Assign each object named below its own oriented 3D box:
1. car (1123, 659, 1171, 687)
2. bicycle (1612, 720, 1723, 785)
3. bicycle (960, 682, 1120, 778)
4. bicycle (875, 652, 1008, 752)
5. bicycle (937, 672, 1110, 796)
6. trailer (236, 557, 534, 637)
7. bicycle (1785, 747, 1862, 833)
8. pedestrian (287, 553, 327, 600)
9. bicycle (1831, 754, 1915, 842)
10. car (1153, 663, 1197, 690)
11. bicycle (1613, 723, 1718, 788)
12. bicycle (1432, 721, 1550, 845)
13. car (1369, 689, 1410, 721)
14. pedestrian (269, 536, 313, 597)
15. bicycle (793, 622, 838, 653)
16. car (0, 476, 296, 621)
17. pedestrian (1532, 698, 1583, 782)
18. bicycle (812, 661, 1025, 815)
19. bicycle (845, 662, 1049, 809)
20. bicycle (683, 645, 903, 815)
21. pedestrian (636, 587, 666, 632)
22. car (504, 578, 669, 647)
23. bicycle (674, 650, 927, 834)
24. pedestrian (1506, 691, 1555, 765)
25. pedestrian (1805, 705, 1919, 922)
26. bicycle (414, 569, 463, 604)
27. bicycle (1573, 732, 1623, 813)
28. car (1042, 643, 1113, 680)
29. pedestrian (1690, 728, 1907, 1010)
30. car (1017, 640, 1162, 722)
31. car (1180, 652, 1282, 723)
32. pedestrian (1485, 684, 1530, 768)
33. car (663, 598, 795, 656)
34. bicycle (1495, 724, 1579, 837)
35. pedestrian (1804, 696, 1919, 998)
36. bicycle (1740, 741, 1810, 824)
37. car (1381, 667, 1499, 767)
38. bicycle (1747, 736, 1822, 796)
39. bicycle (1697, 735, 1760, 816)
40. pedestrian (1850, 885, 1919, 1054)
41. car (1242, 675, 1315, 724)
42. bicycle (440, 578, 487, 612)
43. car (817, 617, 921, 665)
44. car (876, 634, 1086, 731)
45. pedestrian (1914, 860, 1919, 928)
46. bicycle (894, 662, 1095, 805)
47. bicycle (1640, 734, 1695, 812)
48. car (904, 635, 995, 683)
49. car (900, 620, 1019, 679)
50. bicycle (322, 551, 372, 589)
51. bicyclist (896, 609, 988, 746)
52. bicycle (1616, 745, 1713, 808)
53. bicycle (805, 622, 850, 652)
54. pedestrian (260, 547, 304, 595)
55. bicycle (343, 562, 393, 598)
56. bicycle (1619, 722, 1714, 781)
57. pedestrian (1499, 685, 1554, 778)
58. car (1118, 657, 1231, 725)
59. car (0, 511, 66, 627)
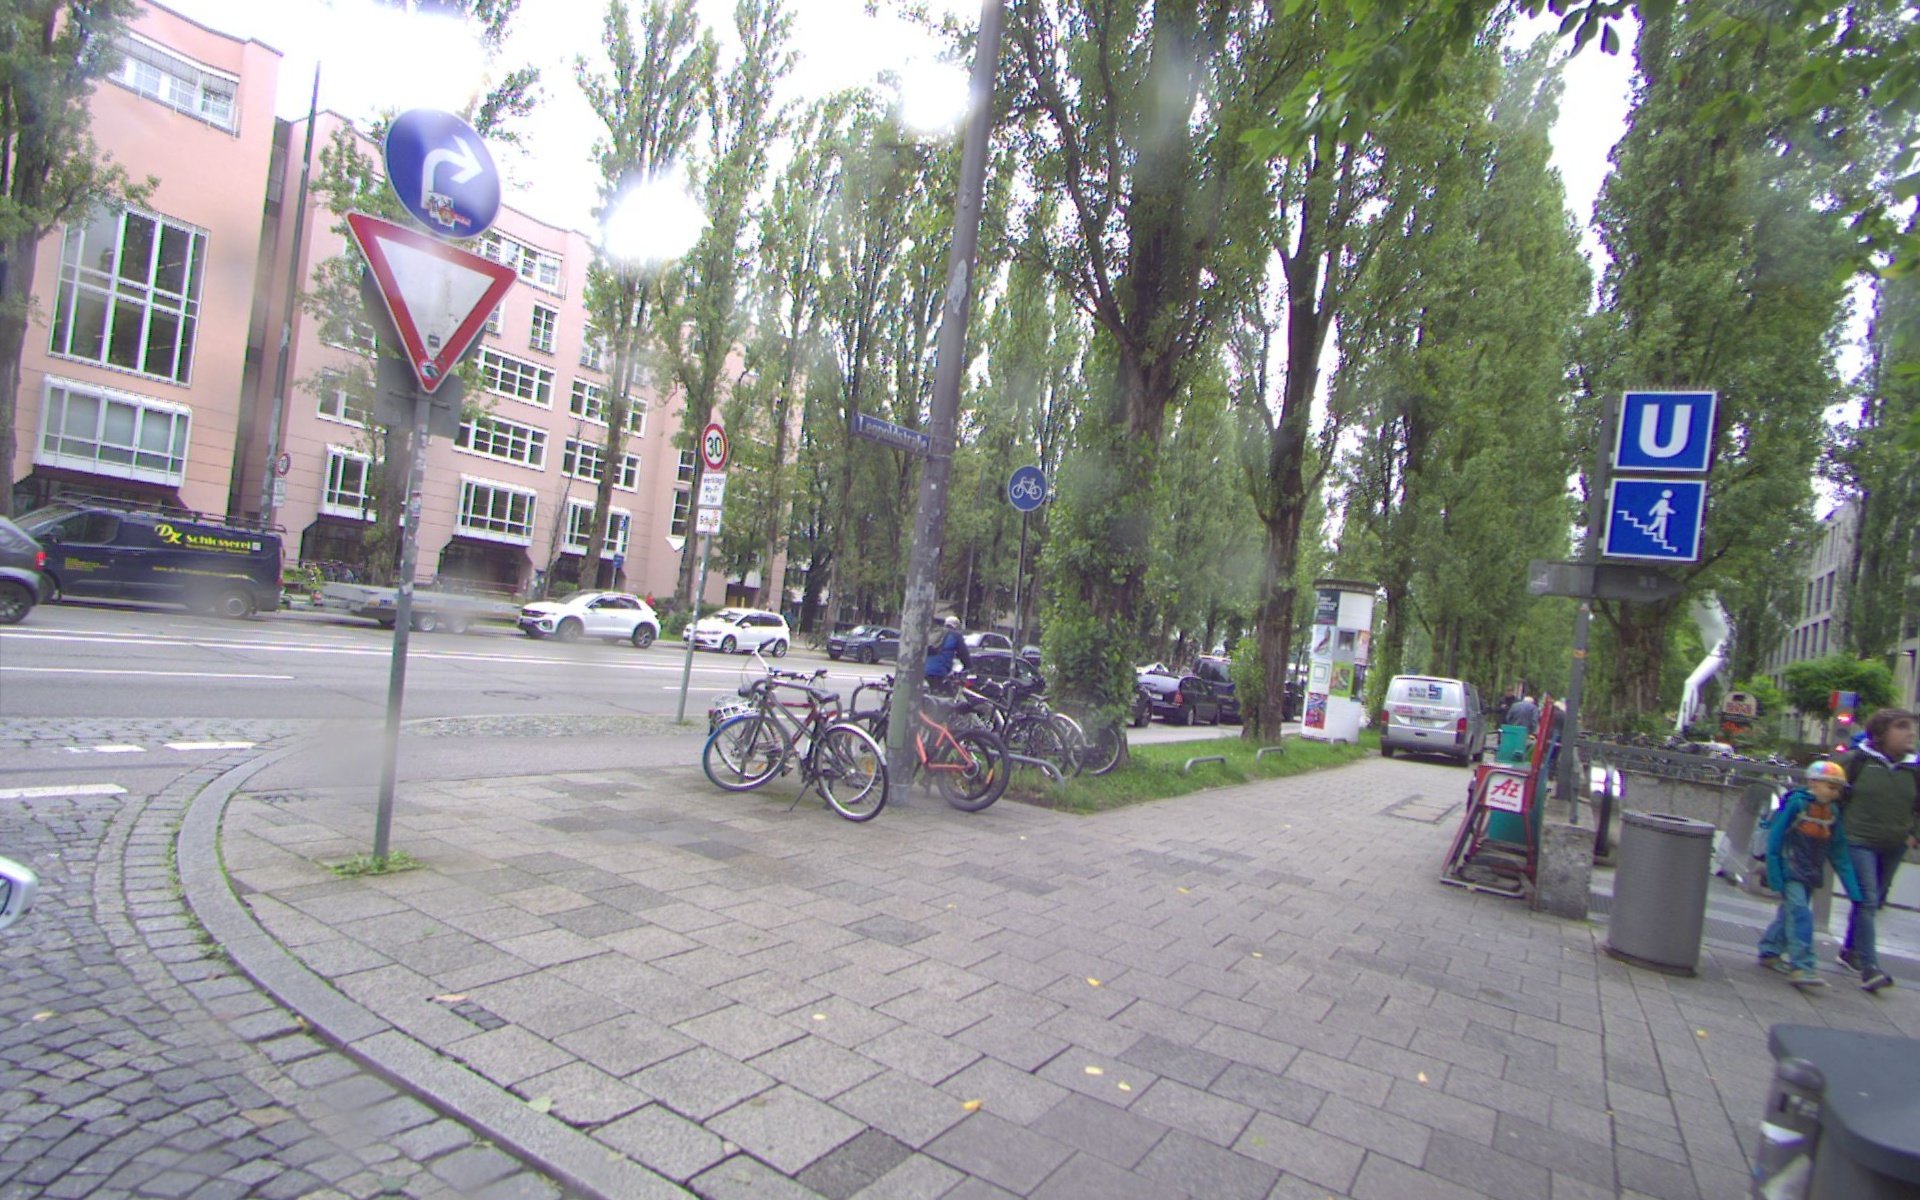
[{"bbox_3d":[12.799,4.990,68.634,1.738,1.598,3.964,7,-1,32],"label":"car"},{"bbox_3d":[16.492,3.544,23.509,1.999,1.173,0.586,6,-1,34],"label":"bicycle"},{"bbox_3d":[0.894,1.465,11.593,1.806,0.828,0.470,5,0,37],"label":"bicycle"},{"bbox_3d":[-0.203,1.348,13.095,0.708,1.160,1.897,3,-5,33],"label":"bicycle"},{"bbox_3d":[0.661,1.413,10.901,1.806,1.051,0.511,5,0,37],"label":"bicycle"},{"bbox_3d":[-14.128,0.008,25.209,2.365,1.213,6.028,6,-2,33],"label":"trailer"},{"bbox_3d":[13.938,3.036,16.286,0.578,1.173,1.866,7,-2,32],"label":"bicycle"},{"bbox_3d":[-21.109,-0.763,32.532,0.698,1.385,0.730,7,-1,33],"label":"pedestrian"},{"bbox_3d":[14.445,3.100,15.959,0.578,1.173,1.866,7,-2,32],"label":"bicycle"},{"bbox_3d":[15.738,5.597,73.556,1.738,1.597,3.966,7,-2,32],"label":"car"},{"bbox_3d":[16.120,3.533,23.034,1.839,1.173,0.586,6,-1,34],"label":"bicycle"},{"bbox_3d":[5.853,1.979,11.031,0.580,1.173,1.860,6,-2,43],"label":"bicycle"},{"bbox_3d":[26.806,6.547,62.673,1.719,1.662,3.947,8,-1,30],"label":"car"},{"bbox_3d":[-20.267,-1.019,30.478,0.698,1.734,0.730,7,-1,33],"label":"pedestrian"},{"bbox_3d":[-6.563,1.704,45.773,1.956,1.138,0.675,6,-1,33],"label":"bicycle"},{"bbox_3d":[-16.944,-0.994,20.235,1.990,2.222,5.488,7,-2,32],"label":"car"},{"bbox_3d":[12.471,2.920,21.007,0.687,1.625,0.831,6,-1,37],"label":"pedestrian"},{"bbox_3d":[-0.398,1.173,8.864,1.846,1.063,0.475,5,-2,34],"label":"bicycle"},{"bbox_3d":[-0.152,1.205,9.282,1.846,1.063,0.475,5,-2,34],"label":"bicycle"},{"bbox_3d":[-1.412,1.028,8.300,1.846,1.063,0.475,7,-1,34],"label":"bicycle"},{"bbox_3d":[-12.757,0.384,41.504,0.698,1.734,0.730,7,-1,33],"label":"pedestrian"},{"bbox_3d":[-10.887,0.413,29.593,1.778,1.560,4.225,5,-2,34],"label":"car"},{"bbox_3d":[-1.227,1.023,7.582,1.843,1.063,0.475,6,-1,27],"label":"bicycle"},{"bbox_3d":[15.889,3.557,28.018,0.905,1.888,1.011,6,-1,37],"label":"pedestrian"},{"bbox_3d":[7.977,1.840,8.866,0.655,1.716,0.802,7,-1,41],"label":"pedestrian"},{"bbox_3d":[-20.480,-0.543,39.509,2.072,1.138,0.675,6,-1,33],"label":"bicycle"},{"bbox_3d":[10.767,2.872,16.993,0.578,1.173,1.981,7,-2,32],"label":"bicycle"},{"bbox_3d":[6.453,3.360,54.808,1.967,1.662,4.543,5,-2,32],"label":"car"},{"bbox_3d":[5.084,1.563,6.105,0.766,1.436,0.808,7,-1,-43],"label":"pedestrian"},{"bbox_3d":[3.129,1.948,23.701,1.720,1.544,3.901,8,-1,33],"label":"car"},{"bbox_3d":[9.188,2.978,33.760,1.884,1.947,5.034,8,-1,30],"label":"car"},{"bbox_3d":[12.969,2.974,23.833,0.689,1.862,0.705,7,-1,35],"label":"pedestrian"},{"bbox_3d":[-7.958,0.981,35.119,1.966,1.560,4.320,7,-2,30],"label":"car"},{"bbox_3d":[7.228,2.215,12.672,0.577,1.173,1.870,7,-2,23],"label":"bicycle"},{"bbox_3d":[5.861,1.515,6.303,0.686,1.721,0.656,7,-1,-43],"label":"pedestrian"},{"bbox_3d":[13.431,2.978,16.626,0.578,1.173,1.866,7,-2,32],"label":"bicycle"},{"bbox_3d":[11.671,2.790,24.230,1.785,1.918,5.194,6,-2,33],"label":"car"},{"bbox_3d":[18.341,3.717,22.416,0.577,1.169,1.878,7,-9,17],"label":"bicycle"},{"bbox_3d":[12.925,2.922,16.955,0.578,1.173,1.866,7,-2,32],"label":"bicycle"},{"bbox_3d":[11.235,4.390,11.965,0.701,1.745,0.669,7,-1,31],"label":"pedestrian"},{"bbox_3d":[12.320,3.838,38.819,1.719,1.544,3.947,8,-1,30],"label":"car"},{"bbox_3d":[-19.870,-0.197,40.273,1.956,1.138,0.675,6,-1,33],"label":"bicycle"},{"bbox_3d":[-3.736,1.738,41.968,1.967,1.560,4.317,6,-2,33],"label":"car"},{"bbox_3d":[0.540,1.646,19.337,1.729,1.444,4.438,8,-1,35],"label":"car"},{"bbox_3d":[8.326,1.876,8.212,0.602,1.700,0.842,7,-1,41],"label":"pedestrian"},{"bbox_3d":[0.317,1.295,10.066,1.899,1.118,0.512,6,-1,32],"label":"bicycle"},{"bbox_3d":[12.153,2.941,17.317,0.578,1.173,1.866,7,-2,32],"label":"bicycle"},{"bbox_3d":[-0.420,2.830,47.533,1.967,1.818,4.755,7,-2,31],"label":"car"},{"bbox_3d":[0.090,1.882,36.998,1.967,1.768,5.057,4,-3,30],"label":"car"},{"bbox_3d":[-22.315,-1.101,36.634,1.956,1.138,0.675,6,-1,33],"label":"bicycle"},{"bbox_3d":[-0.224,0.999,13.015,0.712,1.638,0.756,7,-1,29],"label":"bicyclist"},{"bbox_3d":[17.460,4.360,24.977,1.839,1.173,0.586,6,-1,34],"label":"bicycle"},{"bbox_3d":[-6.125,1.700,46.385,1.956,1.138,0.675,6,-1,33],"label":"bicycle"},{"bbox_3d":[-21.449,-0.898,31.840,0.718,1.385,0.709,7,-1,3],"label":"pedestrian"},{"bbox_3d":[-21.995,-0.752,37.366,1.956,1.138,0.675,6,-1,33],"label":"bicycle"},{"bbox_3d":[17.874,3.820,25.492,1.839,1.173,0.586,7,-1,34],"label":"bicycle"},{"bbox_3d":[11.915,2.755,21.143,0.739,1.824,0.841,7,-1,37],"label":"pedestrian"},{"bbox_3d":[6.207,2.632,28.786,1.719,1.544,4.229,8,-1,31],"label":"car"},{"bbox_3d":[-14.619,-0.635,13.287,1.819,1.544,3.747,5,-3,32],"label":"car"}]
